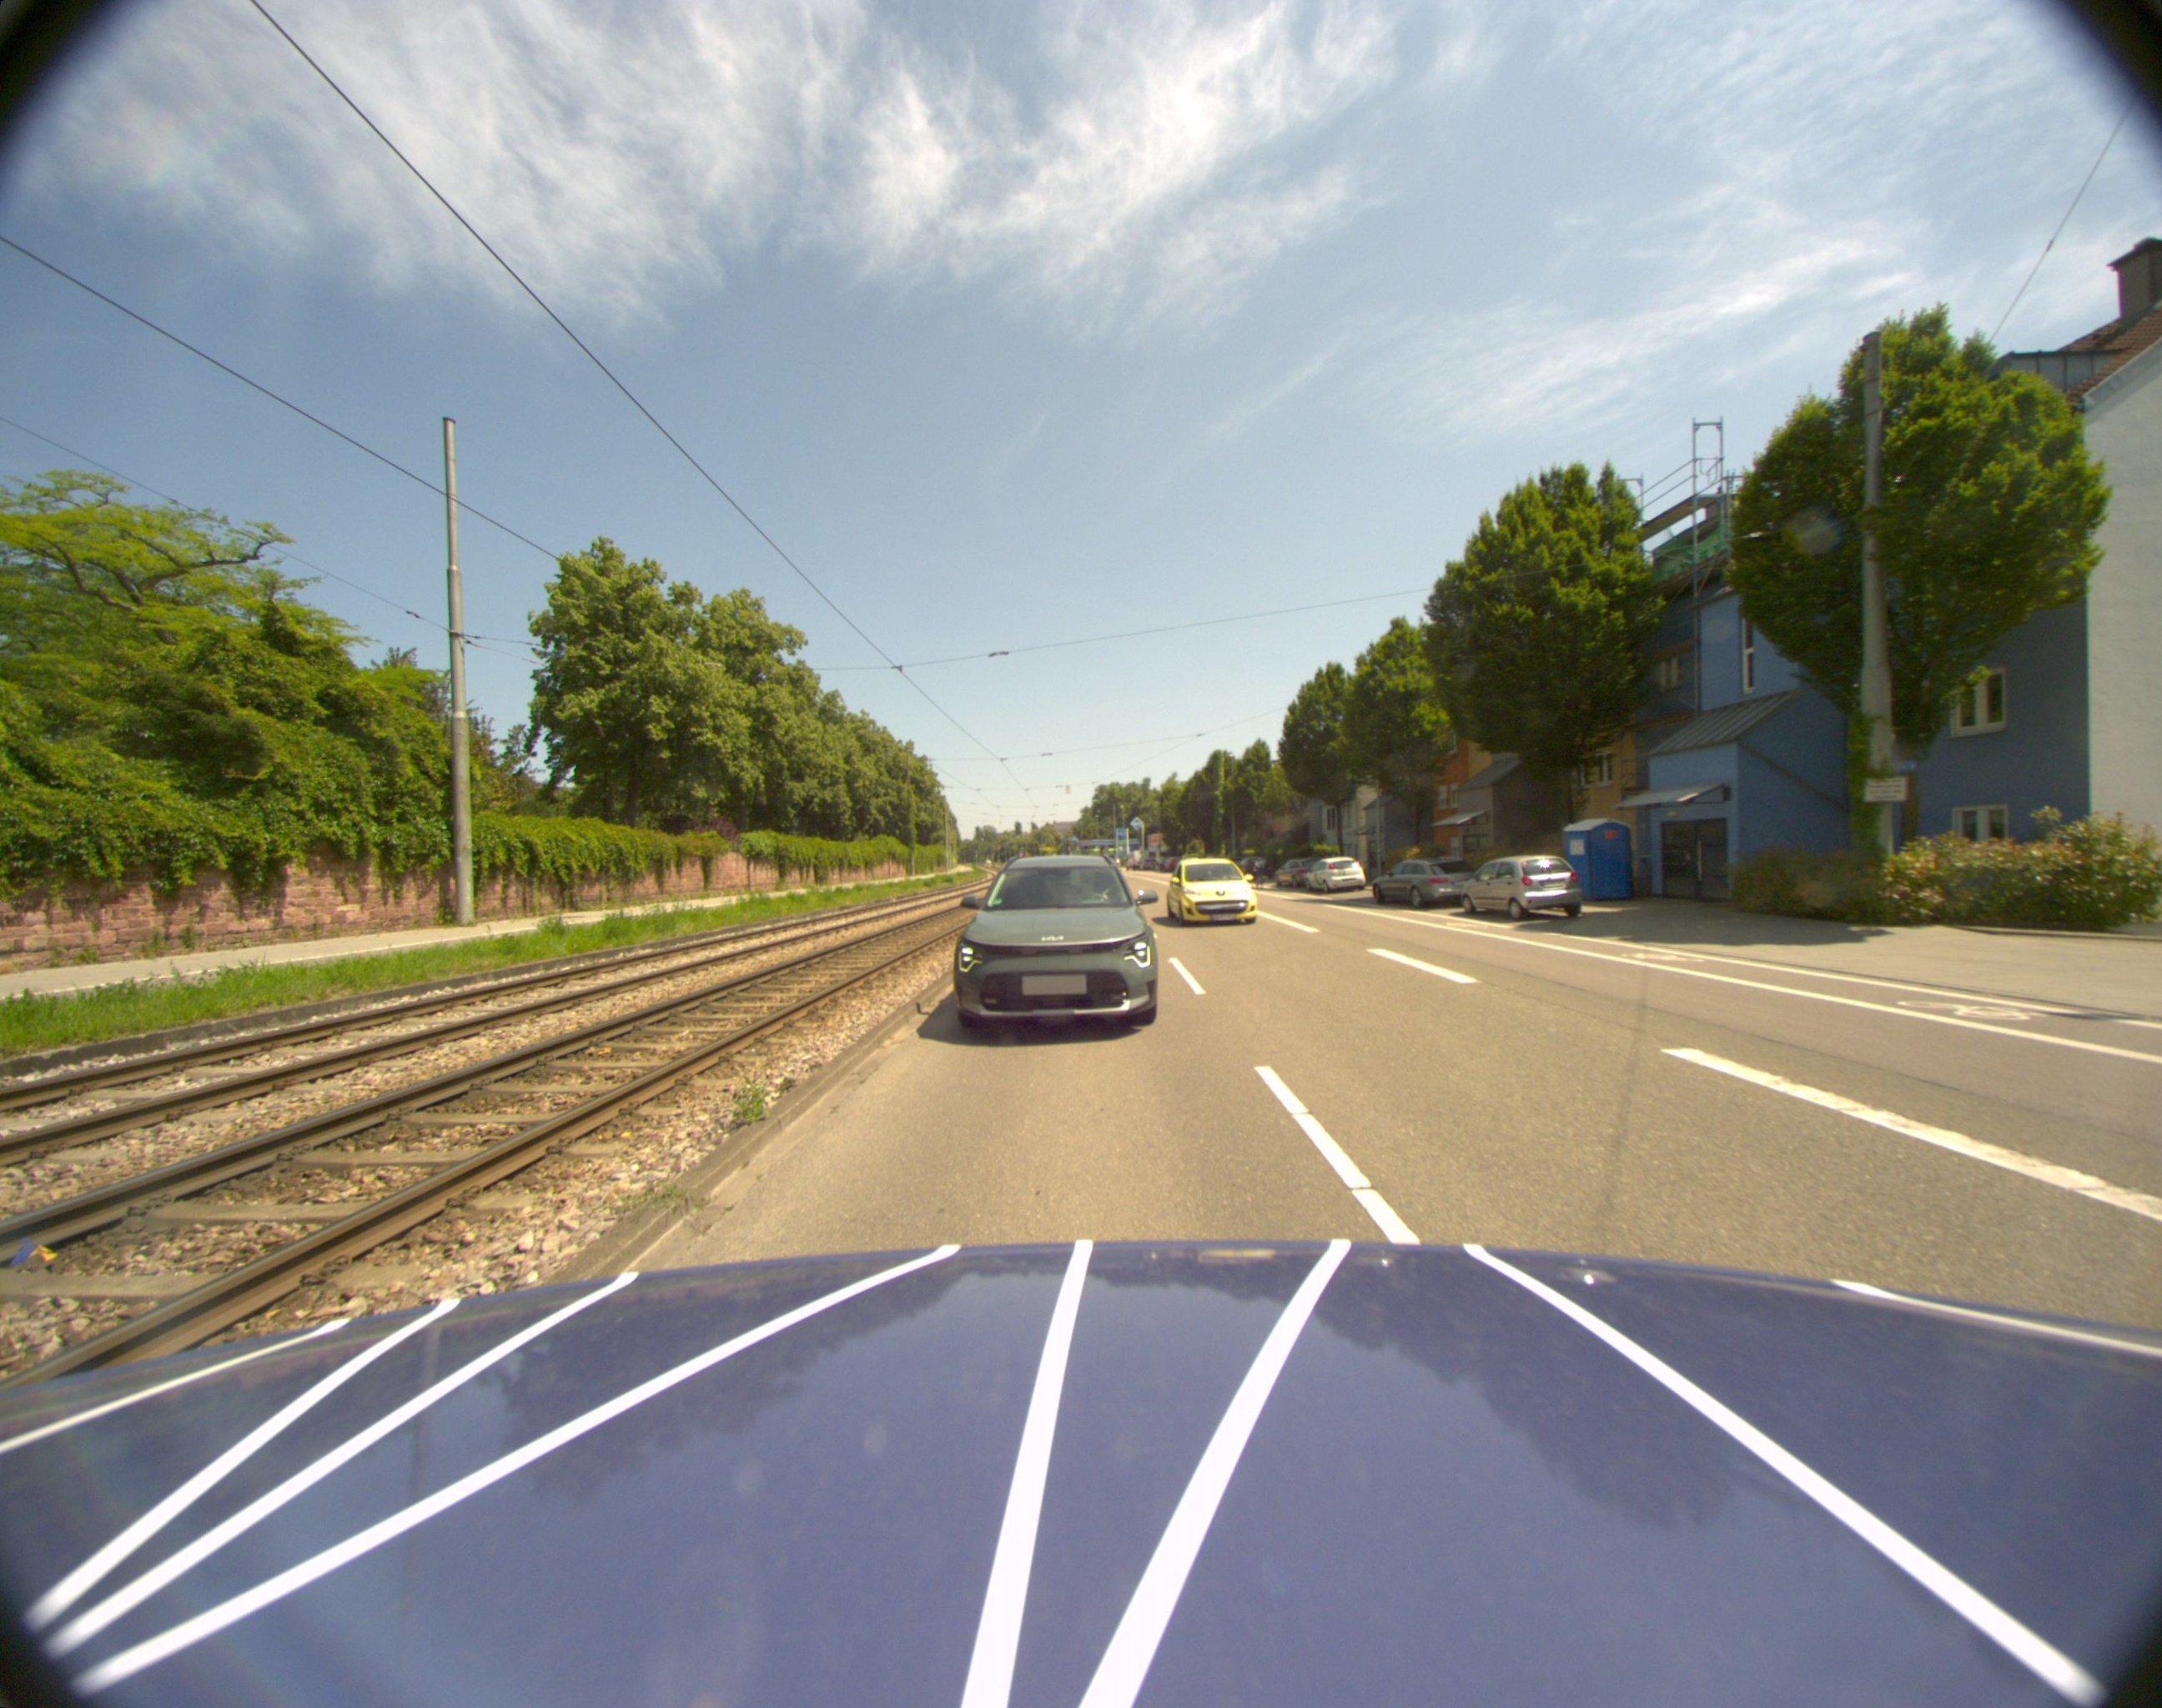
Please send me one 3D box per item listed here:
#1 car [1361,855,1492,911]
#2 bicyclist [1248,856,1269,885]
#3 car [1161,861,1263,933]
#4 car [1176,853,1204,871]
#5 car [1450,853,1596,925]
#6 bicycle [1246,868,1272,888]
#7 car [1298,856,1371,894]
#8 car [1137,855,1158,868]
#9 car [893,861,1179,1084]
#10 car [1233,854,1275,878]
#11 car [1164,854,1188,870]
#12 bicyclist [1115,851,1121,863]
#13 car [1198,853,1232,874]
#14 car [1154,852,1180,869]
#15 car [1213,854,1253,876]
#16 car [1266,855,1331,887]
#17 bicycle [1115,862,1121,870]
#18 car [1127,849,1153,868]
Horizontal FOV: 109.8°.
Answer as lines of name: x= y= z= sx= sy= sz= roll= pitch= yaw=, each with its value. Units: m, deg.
car: x=10.966 y=0.878 z=24.605 sx=1.791 sy=1.441 sz=5.133 roll=-5 pitch=-1 yaw=0
bicyclist: x=9.042 y=0.850 z=38.690 sx=0.737 sy=1.422 sz=1.124 roll=2 pitch=0 yaw=-2
car: x=2.910 y=0.915 z=17.601 sx=1.695 sy=1.403 sz=3.515 roll=-3 pitch=0 yaw=0
car: x=10.468 y=0.783 z=73.409 sx=1.845 sy=1.573 sz=4.495 roll=-3 pitch=0 yaw=-2
car: x=11.028 y=0.809 z=19.254 sx=1.597 sy=1.487 sz=3.448 roll=-6 pitch=0 yaw=1
bicycle: x=9.062 y=1.214 z=38.810 sx=0.703 sy=0.945 sz=2.243 roll=1 pitch=-1 yaw=-2
car: x=11.387 y=0.880 z=34.466 sx=1.750 sy=1.434 sz=4.420 roll=-6 pitch=0 yaw=0
car: x=8.189 y=0.943 z=93.357 sx=1.870 sy=1.528 sz=4.142 roll=-3 pitch=0 yaw=-4
car: x=-0.236 y=0.919 z=7.705 sx=2.062 sy=1.534 sz=4.001 roll=-4 pitch=0 yaw=3
car: x=11.524 y=0.796 z=50.976 sx=1.754 sy=1.424 sz=4.257 roll=-4 pitch=0 yaw=0
car: x=9.863 y=0.827 z=79.301 sx=1.604 sy=1.584 sz=3.680 roll=-3 pitch=0 yaw=-6
bicyclist: x=5.016 y=0.416 z=102.600 sx=0.737 sy=1.496 sz=0.737 roll=0 pitch=1 yaw=1
car: x=10.942 y=0.791 z=62.087 sx=1.772 sy=1.579 sz=4.147 roll=-3 pitch=0 yaw=-3
car: x=9.536 y=0.664 z=84.510 sx=1.999 sy=1.783 sz=4.556 roll=-2 pitch=0 yaw=-5
car: x=11.198 y=0.810 z=56.266 sx=1.830 sy=1.487 sz=4.756 roll=-3 pitch=0 yaw=-1
car: x=11.317 y=0.848 z=39.840 sx=1.708 sy=1.421 sz=4.750 roll=-6 pitch=0 yaw=-3
bicycle: x=4.989 y=1.629 z=102.717 sx=0.641 sy=1.089 sz=1.639 roll=1 pitch=1 yaw=1
car: x=7.692 y=0.554 z=99.444 sx=2.285 sy=2.294 sz=5.226 roll=-3 pitch=0 yaw=-8
